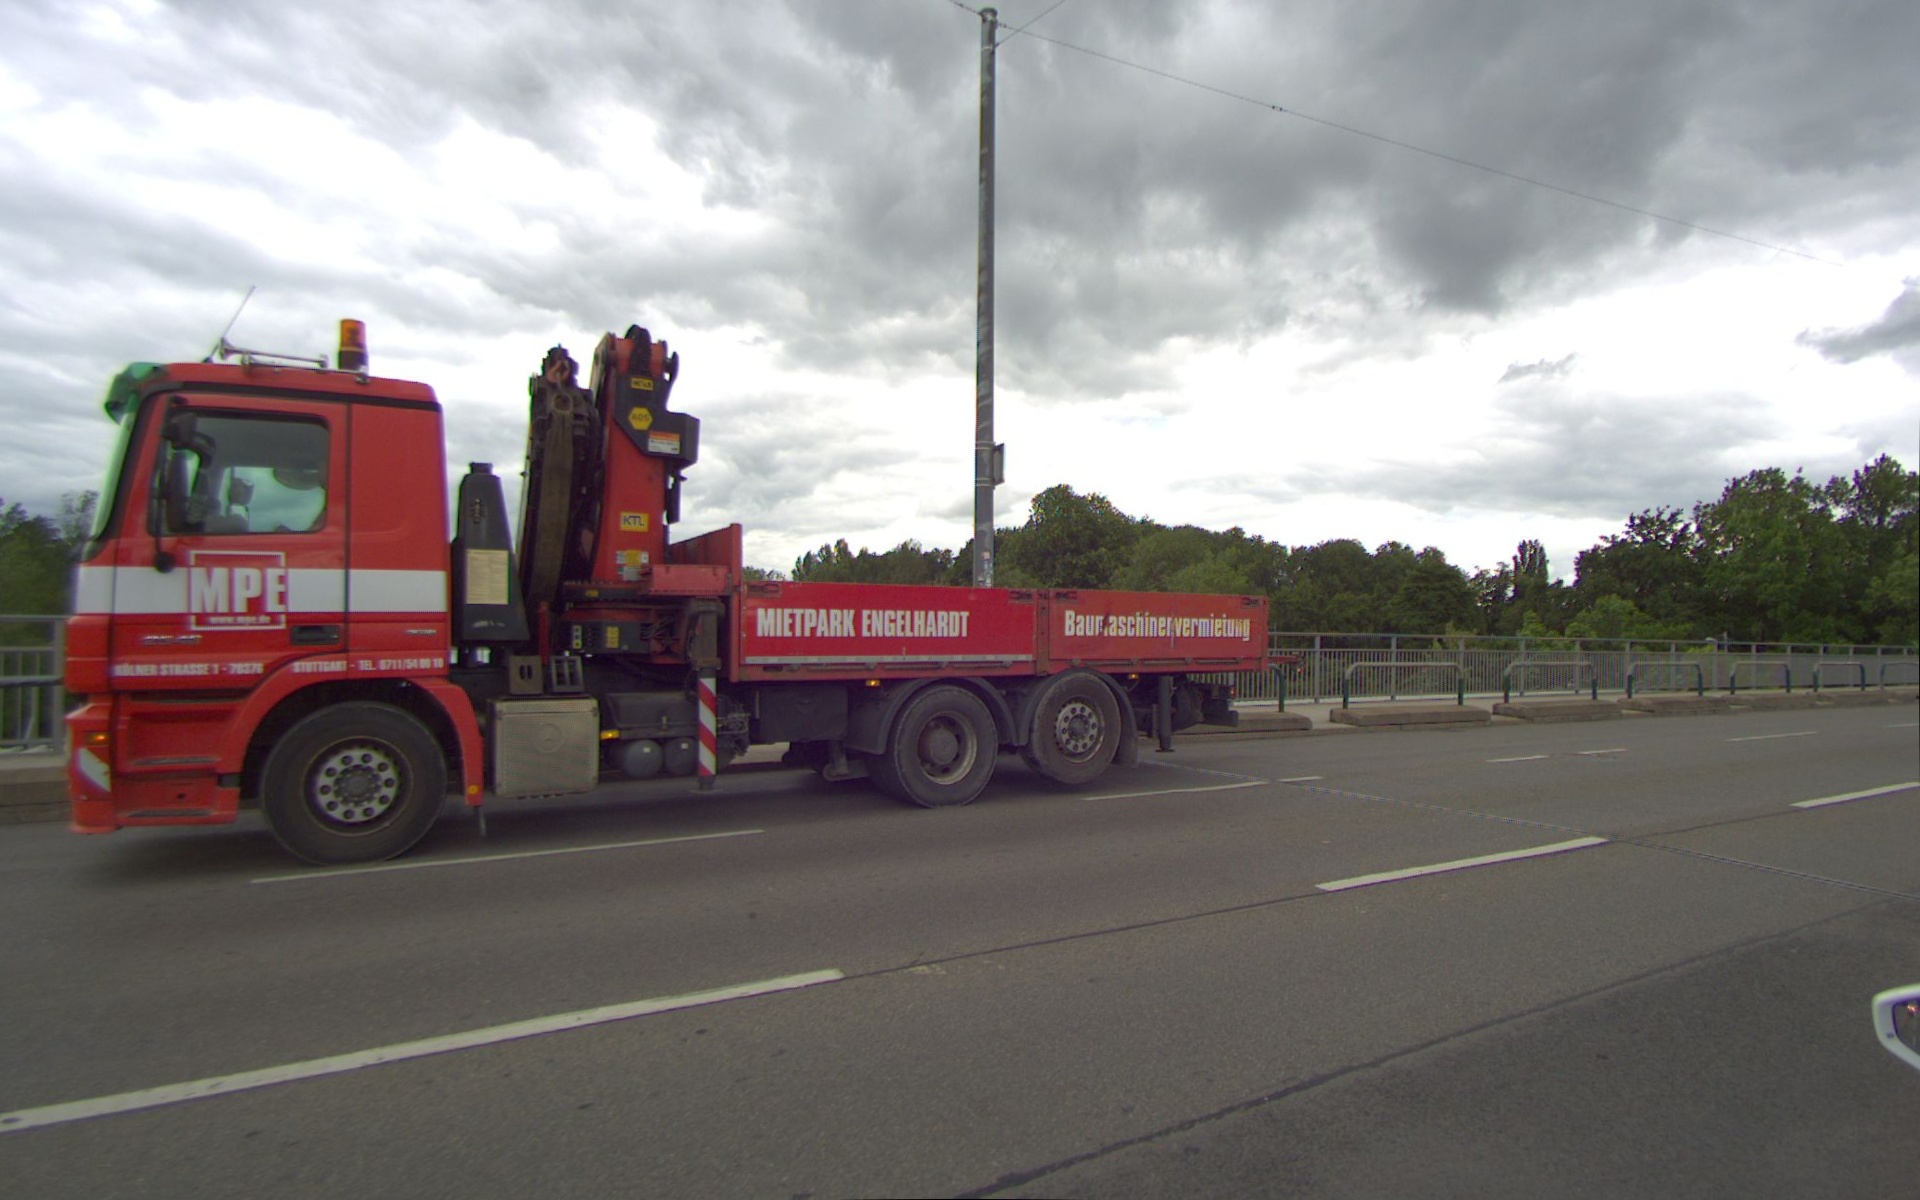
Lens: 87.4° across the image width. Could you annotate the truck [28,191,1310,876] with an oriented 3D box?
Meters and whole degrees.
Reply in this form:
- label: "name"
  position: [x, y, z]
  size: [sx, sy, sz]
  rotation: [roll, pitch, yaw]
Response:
- label: "truck"
  position: [-1.370, -0.220, 9.123]
  size: [9.867, 3.612, 2.991]
  rotation: [1, -2, -31]
